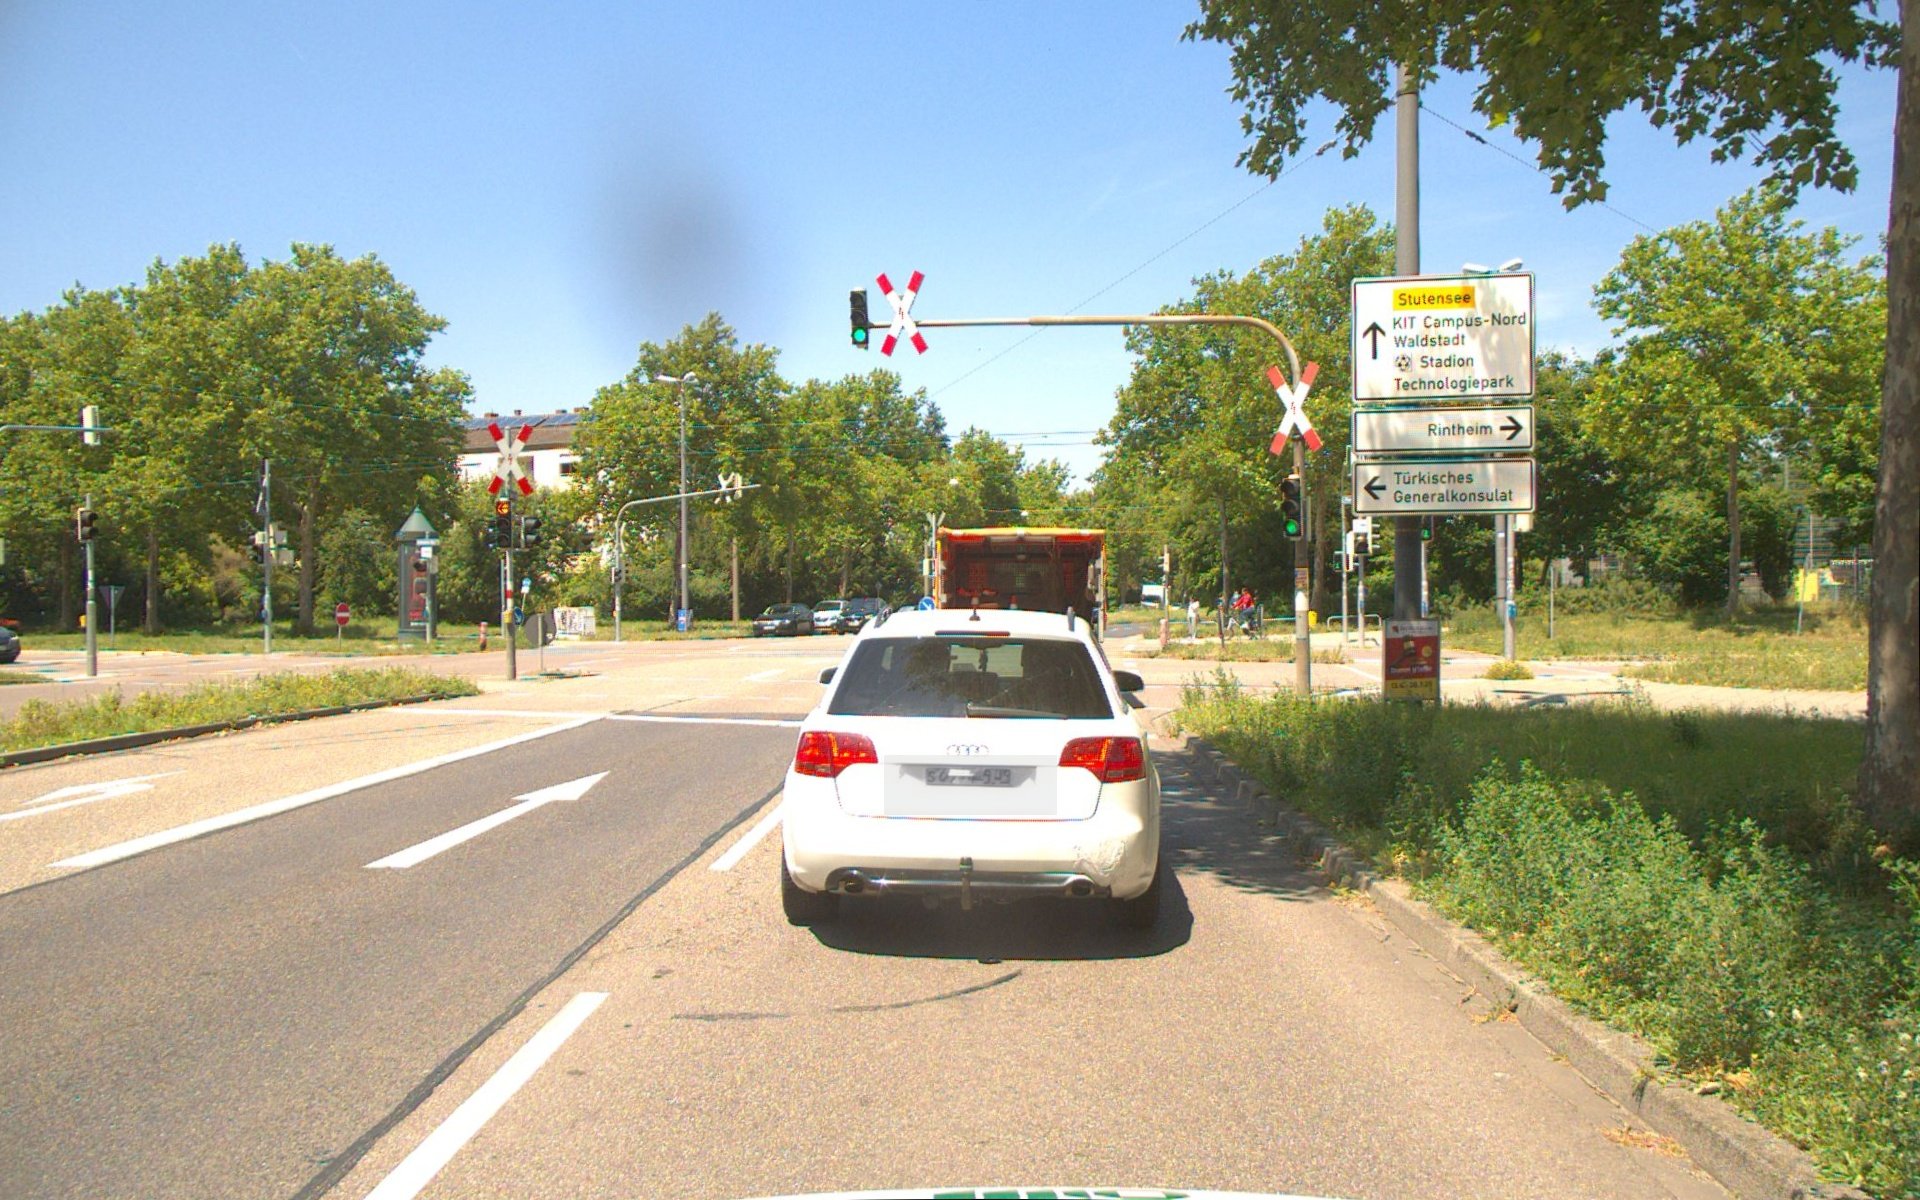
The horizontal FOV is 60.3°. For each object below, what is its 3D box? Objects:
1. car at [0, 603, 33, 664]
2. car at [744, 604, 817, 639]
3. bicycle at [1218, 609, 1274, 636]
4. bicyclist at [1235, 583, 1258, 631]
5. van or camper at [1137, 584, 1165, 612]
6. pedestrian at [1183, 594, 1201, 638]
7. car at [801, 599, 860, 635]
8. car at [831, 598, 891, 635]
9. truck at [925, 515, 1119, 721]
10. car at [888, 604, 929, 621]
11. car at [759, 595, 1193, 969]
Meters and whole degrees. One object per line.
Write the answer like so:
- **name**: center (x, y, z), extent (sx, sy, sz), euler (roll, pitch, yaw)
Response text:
- **car**: center (-25.163, 0.837, 41.371), extent (3.907, 1.483, 1.760), euler (-1, 0, 32)
- **car**: center (-7.903, 0.916, 73.311), extent (1.907, 1.465, 4.751), euler (0, 0, 11)
- **bicycle**: center (9.681, 0.760, 55.984), extent (1.769, 0.911, 0.588), euler (-1, 0, -2)
- **bicyclist**: center (9.714, 0.232, 55.990), extent (0.658, 1.583, 0.579), euler (-1, 0, -1)
- **van or camper**: center (23.100, -0.238, 199.722), extent (2.604, 3.389, 5.504), euler (0, 0, 14)
- **pedestrian**: center (8.180, 0.564, 58.315), extent (0.541, 1.510, 0.630), euler (-1, 0, 16)
- **car**: center (-6.288, 0.812, 80.623), extent (1.749, 1.643, 4.408), euler (-1, 0, 11)
- **car**: center (-4.388, 0.697, 73.921), extent (1.868, 1.566, 4.302), euler (-1, 0, 8)
- **truck**: center (0.949, 0.245, 25.101), extent (2.459, 2.604, 7.605), euler (1, 0, 2)
- **car**: center (-4.339, 1.031, 139.006), extent (1.844, 1.417, 3.997), euler (0, 0, 26)
- **car**: center (0.165, 0.719, 8.418), extent (1.725, 1.470, 3.617), euler (0, 0, 3)
